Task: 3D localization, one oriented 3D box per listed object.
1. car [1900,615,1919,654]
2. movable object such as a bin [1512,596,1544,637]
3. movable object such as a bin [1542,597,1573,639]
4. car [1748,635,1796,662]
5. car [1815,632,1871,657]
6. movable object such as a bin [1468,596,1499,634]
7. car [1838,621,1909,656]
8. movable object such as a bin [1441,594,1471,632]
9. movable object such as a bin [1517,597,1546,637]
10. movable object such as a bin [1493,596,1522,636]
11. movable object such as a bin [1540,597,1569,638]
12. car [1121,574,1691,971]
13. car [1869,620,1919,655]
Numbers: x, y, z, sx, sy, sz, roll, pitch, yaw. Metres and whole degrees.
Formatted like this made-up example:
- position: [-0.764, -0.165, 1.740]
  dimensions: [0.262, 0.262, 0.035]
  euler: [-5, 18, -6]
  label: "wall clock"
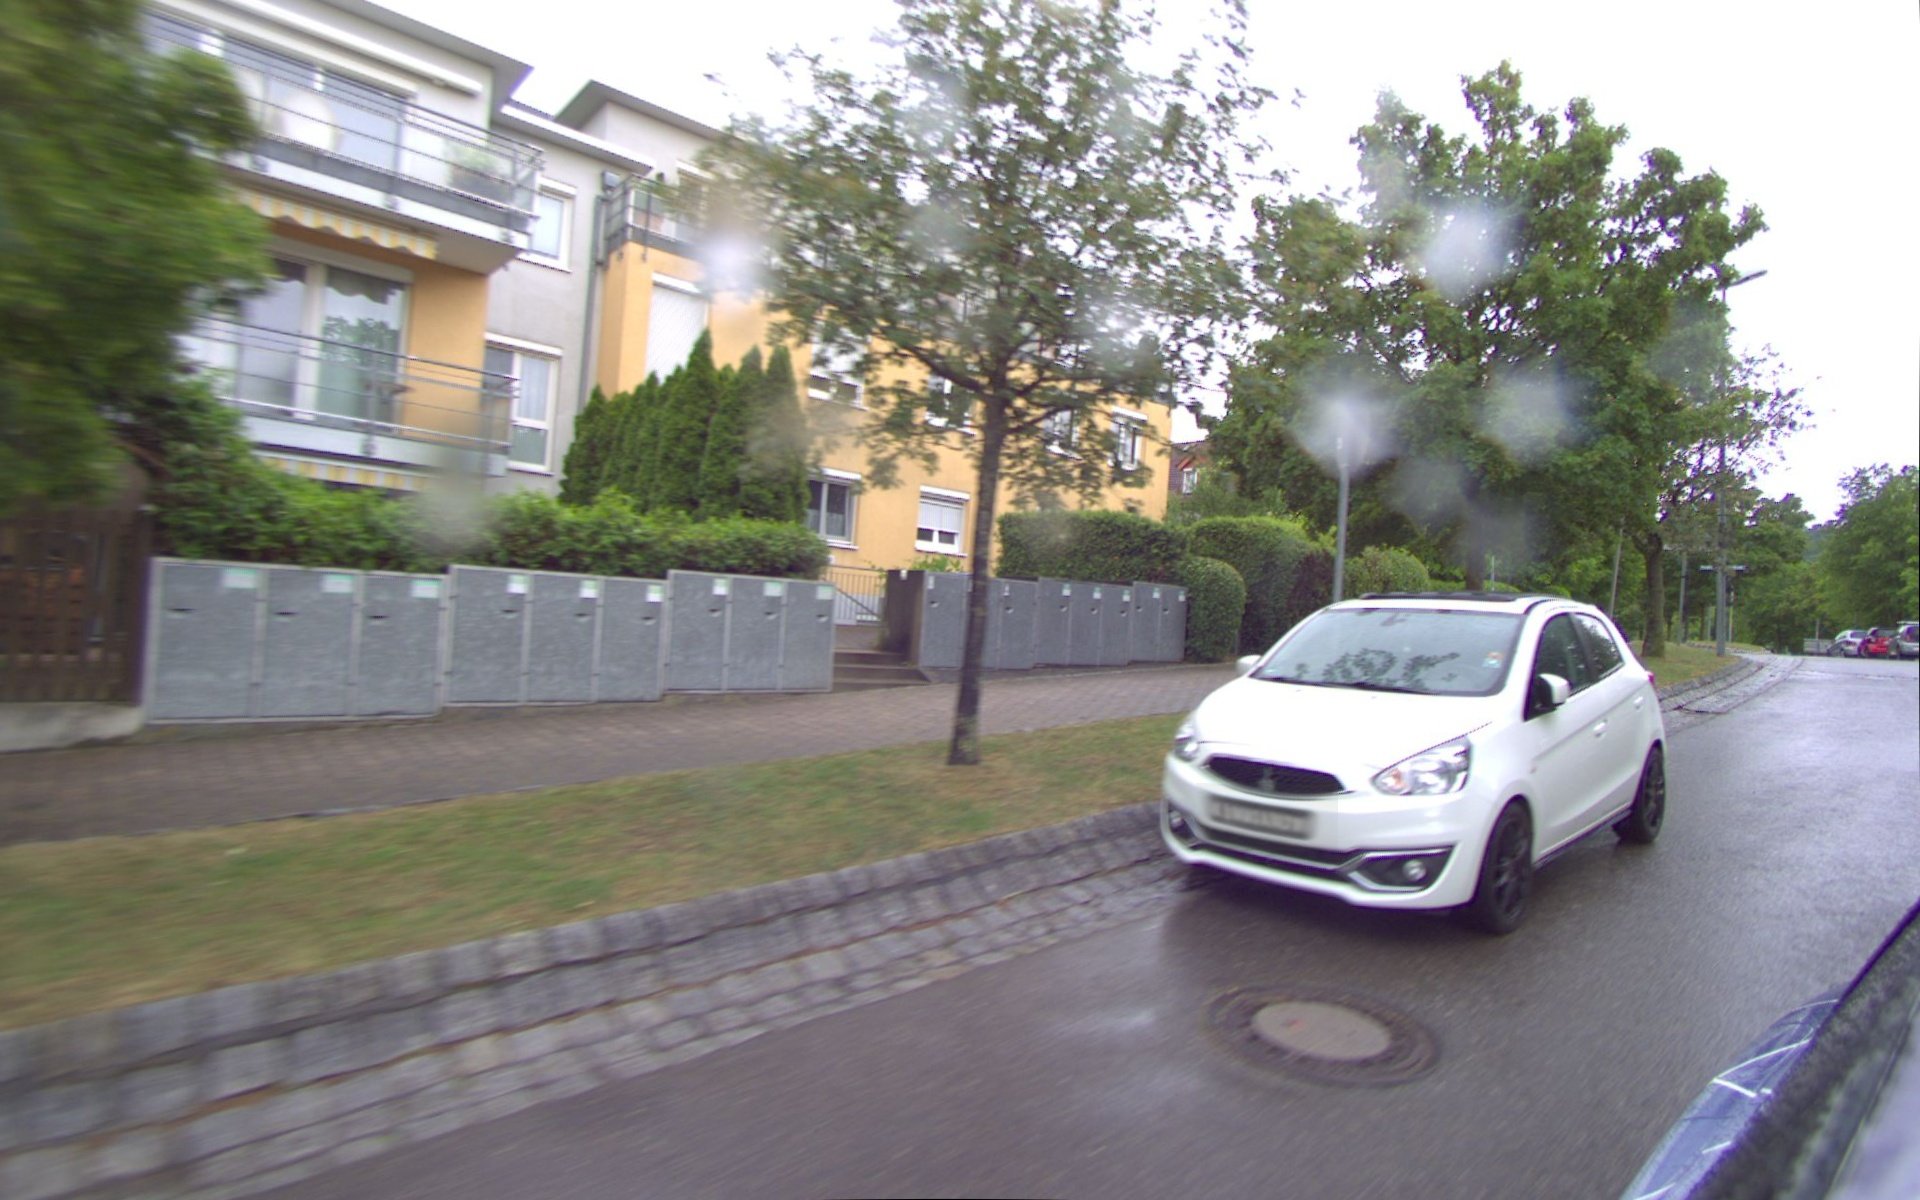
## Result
- position: [39.109, 1.426, 40.567]
  dimensions: [1.670, 1.498, 3.507]
  euler: [2, -1, 36]
  label: "car"
- position: [15.560, 0.460, 27.724]
  dimensions: [0.595, 1.086, 0.686]
  euler: [3, 0, 39]
  label: "movable object such as a bin"
- position: [16.465, 0.499, 27.899]
  dimensions: [0.599, 1.088, 0.686]
  euler: [3, 0, 39]
  label: "movable object such as a bin"
- position: [58.229, 3.507, 72.606]
  dimensions: [1.945, 1.628, 3.957]
  euler: [3, -4, 29]
  label: "car"
- position: [50.055, 2.530, 57.412]
  dimensions: [1.720, 1.297, 3.292]
  euler: [3, -1, 30]
  label: "car"
- position: [15.082, 0.431, 29.154]
  dimensions: [0.602, 1.068, 0.686]
  euler: [3, 0, 39]
  label: "movable object such as a bin"
- position: [45.529, 1.957, 50.541]
  dimensions: [1.837, 1.572, 3.944]
  euler: [3, -2, 31]
  label: "car"
- position: [14.512, 0.385, 29.611]
  dimensions: [0.602, 1.068, 0.686]
  euler: [3, 0, 39]
  label: "movable object such as a bin"
- position: [15.987, 0.477, 28.313]
  dimensions: [0.541, 1.088, 0.686]
  euler: [3, 0, 39]
  label: "movable object such as a bin"
- position: [15.531, 0.447, 28.715]
  dimensions: [0.576, 1.080, 0.686]
  euler: [3, 0, 39]
  label: "movable object such as a bin"
- position: [16.032, 0.475, 27.292]
  dimensions: [0.541, 1.087, 0.657]
  euler: [3, 0, 40]
  label: "movable object such as a bin"
- position: [2.701, 0.649, 5.716]
  dimensions: [3.662, 1.521, 1.608]
  euler: [0, 1, -42]
  label: "car"
- position: [42.136, 1.683, 45.501]
  dimensions: [1.544, 1.454, 2.972]
  euler: [2, -2, 36]
  label: "car"
